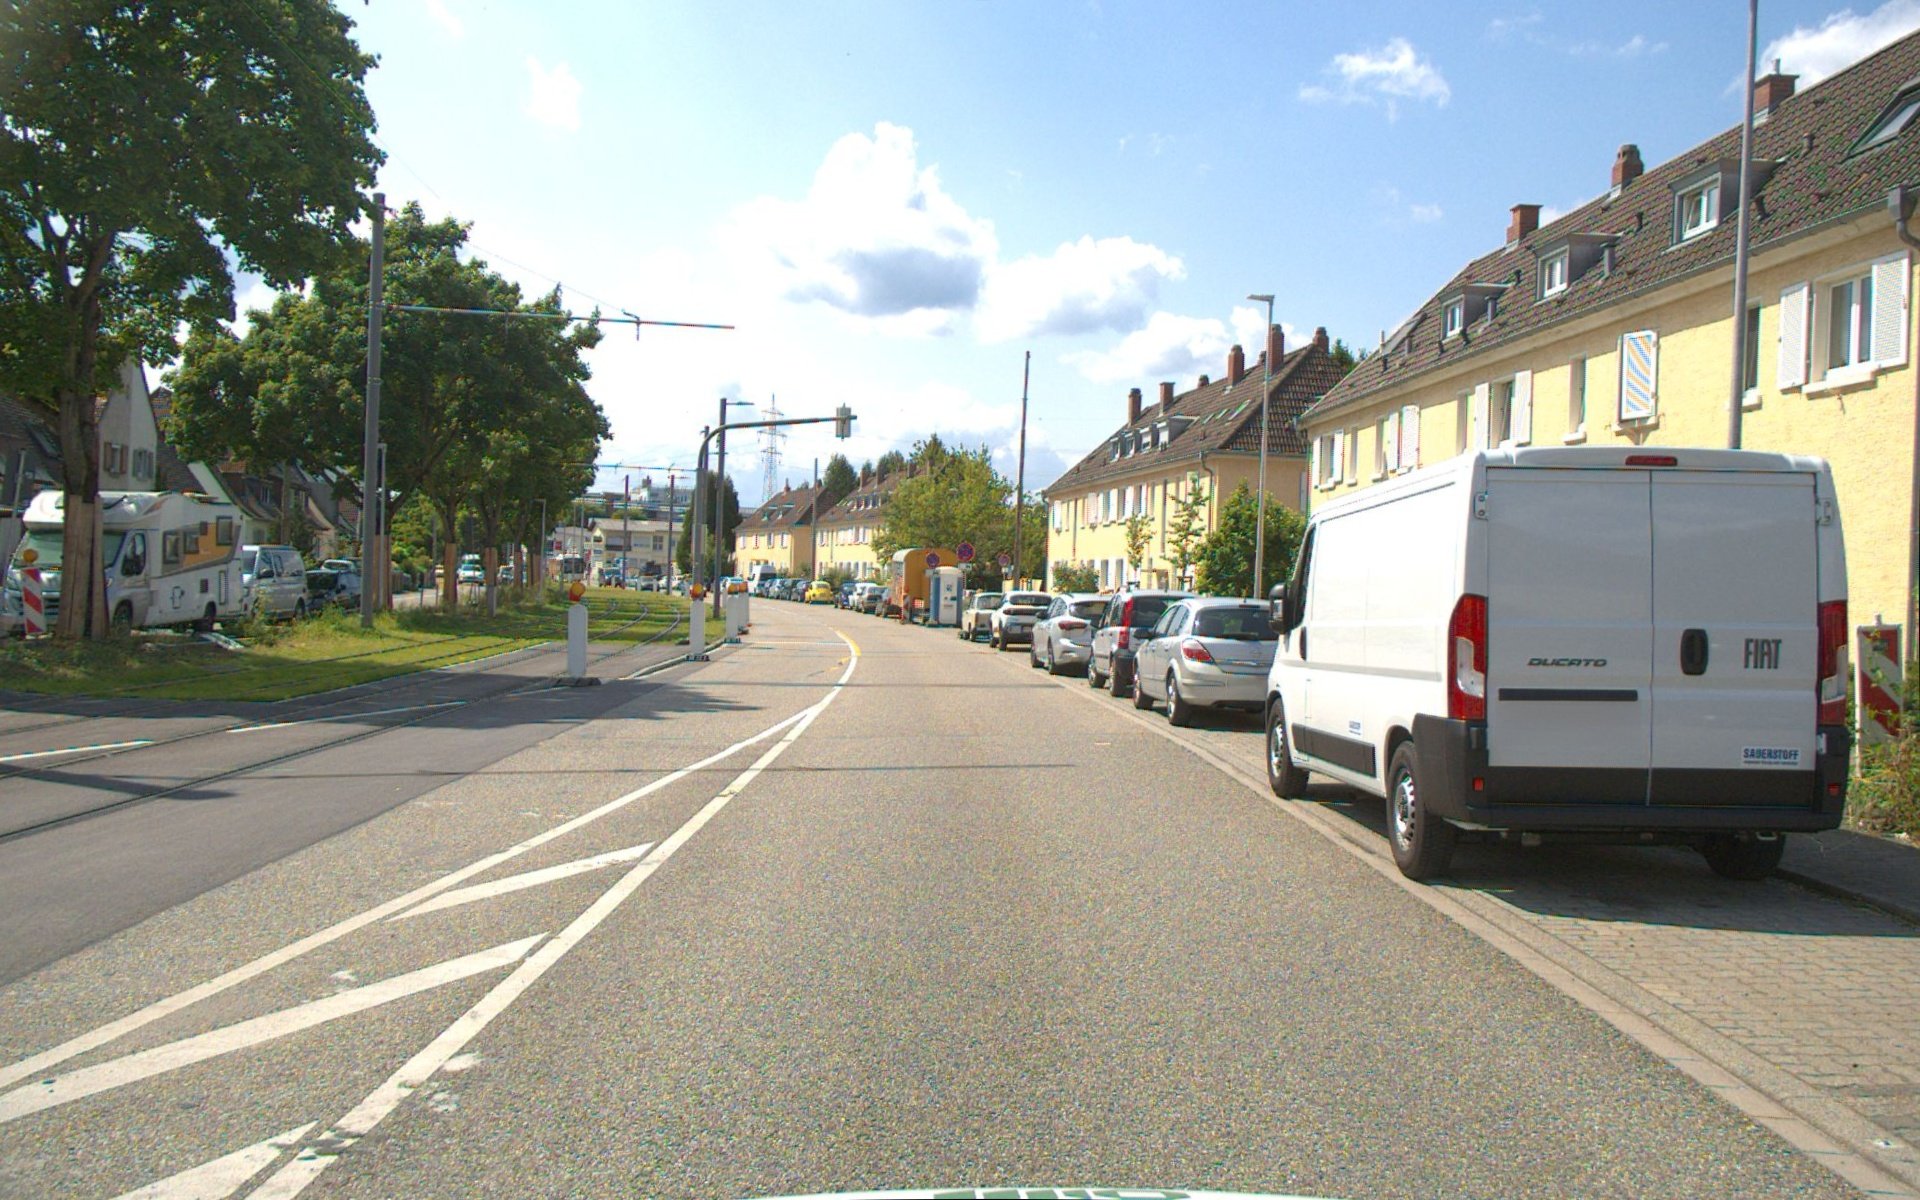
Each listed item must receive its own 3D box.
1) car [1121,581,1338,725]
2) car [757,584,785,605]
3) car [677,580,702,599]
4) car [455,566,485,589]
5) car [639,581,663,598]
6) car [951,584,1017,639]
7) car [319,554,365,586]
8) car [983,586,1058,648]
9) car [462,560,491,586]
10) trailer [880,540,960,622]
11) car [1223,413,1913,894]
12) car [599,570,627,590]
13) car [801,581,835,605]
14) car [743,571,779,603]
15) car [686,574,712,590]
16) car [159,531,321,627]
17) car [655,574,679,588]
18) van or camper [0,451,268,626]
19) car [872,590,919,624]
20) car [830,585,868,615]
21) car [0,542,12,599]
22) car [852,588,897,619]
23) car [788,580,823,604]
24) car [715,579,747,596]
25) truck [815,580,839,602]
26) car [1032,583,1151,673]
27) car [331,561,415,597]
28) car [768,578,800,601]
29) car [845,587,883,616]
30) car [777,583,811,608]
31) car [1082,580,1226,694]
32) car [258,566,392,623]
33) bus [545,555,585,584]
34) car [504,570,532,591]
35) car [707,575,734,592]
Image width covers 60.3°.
[{"bbox_3d":[3.149,0.566,20.169,1.674,1.530,4.252,1,0,-4],"label":"car"},{"bbox_3d":[-14.599,-0.426,127.700,1.511,1.470,3.721,2,0,-16],"label":"car"},{"bbox_3d":[-21.124,-0.823,129.226,1.637,1.474,3.945,-1,1,-14],"label":"car"},{"bbox_3d":[-40.984,-1.848,138.412,1.847,1.799,5.071,2,0,-10],"label":"car"},{"bbox_3d":[-28.162,-0.955,150.730,1.697,1.413,4.101,2,0,-18],"label":"car"},{"bbox_3d":[0.682,0.323,49.232,1.435,1.528,4.103,1,0,-7],"label":"car"},{"bbox_3d":[-31.639,-1.521,84.711,1.699,1.544,4.029,2,0,-14],"label":"car"},{"bbox_3d":[1.524,0.403,42.858,1.497,1.507,3.806,1,0,-4],"label":"car"},{"bbox_3d":[-52.099,-2.923,178.213,2.047,2.768,6.948,0,1,-25],"label":"car"},{"bbox_3d":[-1.765,-0.792,70.747,2.641,3.283,5.070,2,0,-10],"label":"trailer"},{"bbox_3d":[3.383,0.240,11.012,2.230,2.221,6.368,1,0,0],"label":"car"},{"bbox_3d":[-35.931,-2.039,171.132,1.927,2.000,5.260,1,1,-21],"label":"car"},{"bbox_3d":[-9.386,-0.478,108.914,1.609,1.508,3.917,-1,2,-14],"label":"car"},{"bbox_3d":[-16.029,-1.071,132.843,1.899,2.524,5.491,1,0,-17],"label":"car"},{"bbox_3d":[-25.029,-1.722,158.437,1.738,1.442,3.976,0,1,-21],"label":"car"},{"bbox_3d":[-16.946,-0.478,39.198,1.955,2.049,4.899,2,0,-5],"label":"car"},{"bbox_3d":[-30.726,-1.965,173.465,1.738,1.465,3.976,0,1,-21],"label":"car"},{"bbox_3d":[-16.185,-1.099,32.814,2.329,3.022,7.289,2,0,-5],"label":"van or camper"},{"bbox_3d":[-3.122,0.312,79.105,1.549,1.474,4.442,2,0,-11],"label":"car"},{"bbox_3d":[-6.520,-0.031,96.856,1.522,1.669,4.231,2,0,-14],"label":"car"},{"bbox_3d":[-31.605,-1.003,50.712,3.915,1.767,1.794,3,0,-11],"label":"car"},{"bbox_3d":[-4.510,0.156,86.848,1.676,1.474,4.822,2,0,-11],"label":"car"},{"bbox_3d":[-10.651,-0.564,114.009,1.610,1.508,4.106,2,0,-16],"label":"car"},{"bbox_3d":[-20.064,-1.076,144.894,1.773,1.483,4.735,0,0,-21],"label":"car"},{"bbox_3d":[-10.619,-0.731,132.012,1.325,1.718,2.430,2,0,-17],"label":"truck"},{"bbox_3d":[2.378,0.476,30.952,1.714,1.524,4.384,1,0,-2],"label":"car"},{"bbox_3d":[-33.780,-1.206,95.293,4.397,1.868,2.056,2,0,-16],"label":"car"},{"bbox_3d":[-13.113,-0.773,123.137,1.610,1.630,4.012,2,0,-16],"label":"car"},{"bbox_3d":[-5.356,0.060,91.863,1.549,1.539,4.448,2,0,-11],"label":"car"},{"bbox_3d":[-11.985,-0.341,119.315,1.611,1.630,3.911,2,0,-18],"label":"car"},{"bbox_3d":[2.876,0.510,25.230,1.595,1.577,3.808,1,0,-2],"label":"car"},{"bbox_3d":[-17.241,-0.150,45.190,1.814,1.411,4.808,2,0,-1],"label":"car"},{"bbox_3d":[-48.732,-3.790,203.785,2.602,3.472,12.155,0,1,-24],"label":"bus"},{"bbox_3d":[-35.632,-1.582,133.279,1.784,1.614,4.542,0,1,-20],"label":"car"},{"bbox_3d":[-21.755,-1.514,150.109,1.597,1.442,3.976,0,1,-21],"label":"car"}]
